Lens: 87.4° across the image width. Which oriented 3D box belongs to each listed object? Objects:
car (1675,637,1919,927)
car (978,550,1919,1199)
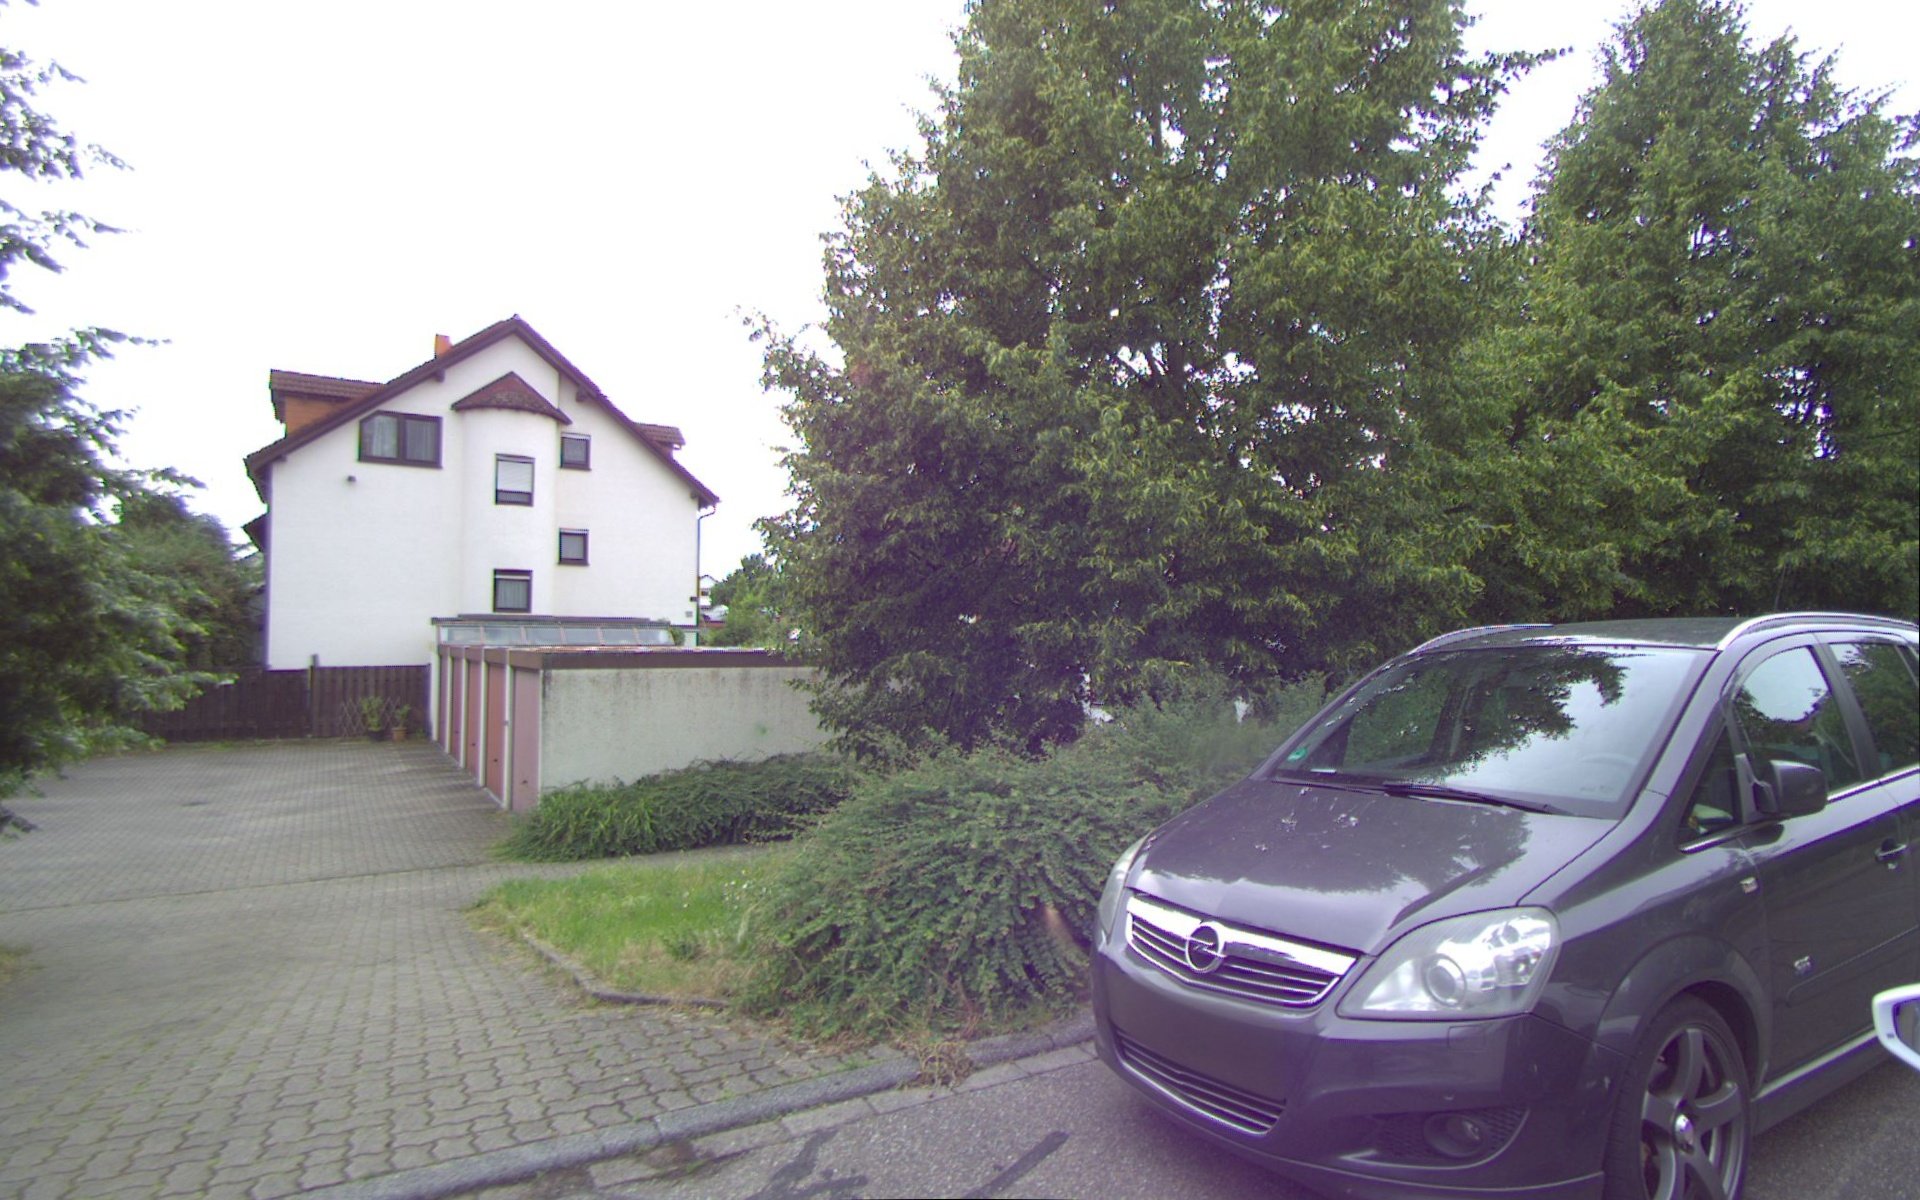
[{"bbox_3d":[6.745,1.009,6.439,4.251,1.497,1.751,1,-4,-28],"label":"car"},{"bbox_3d":[2.438,0.825,3.803,4.499,1.614,1.750,2,-4,-30],"label":"car"}]
